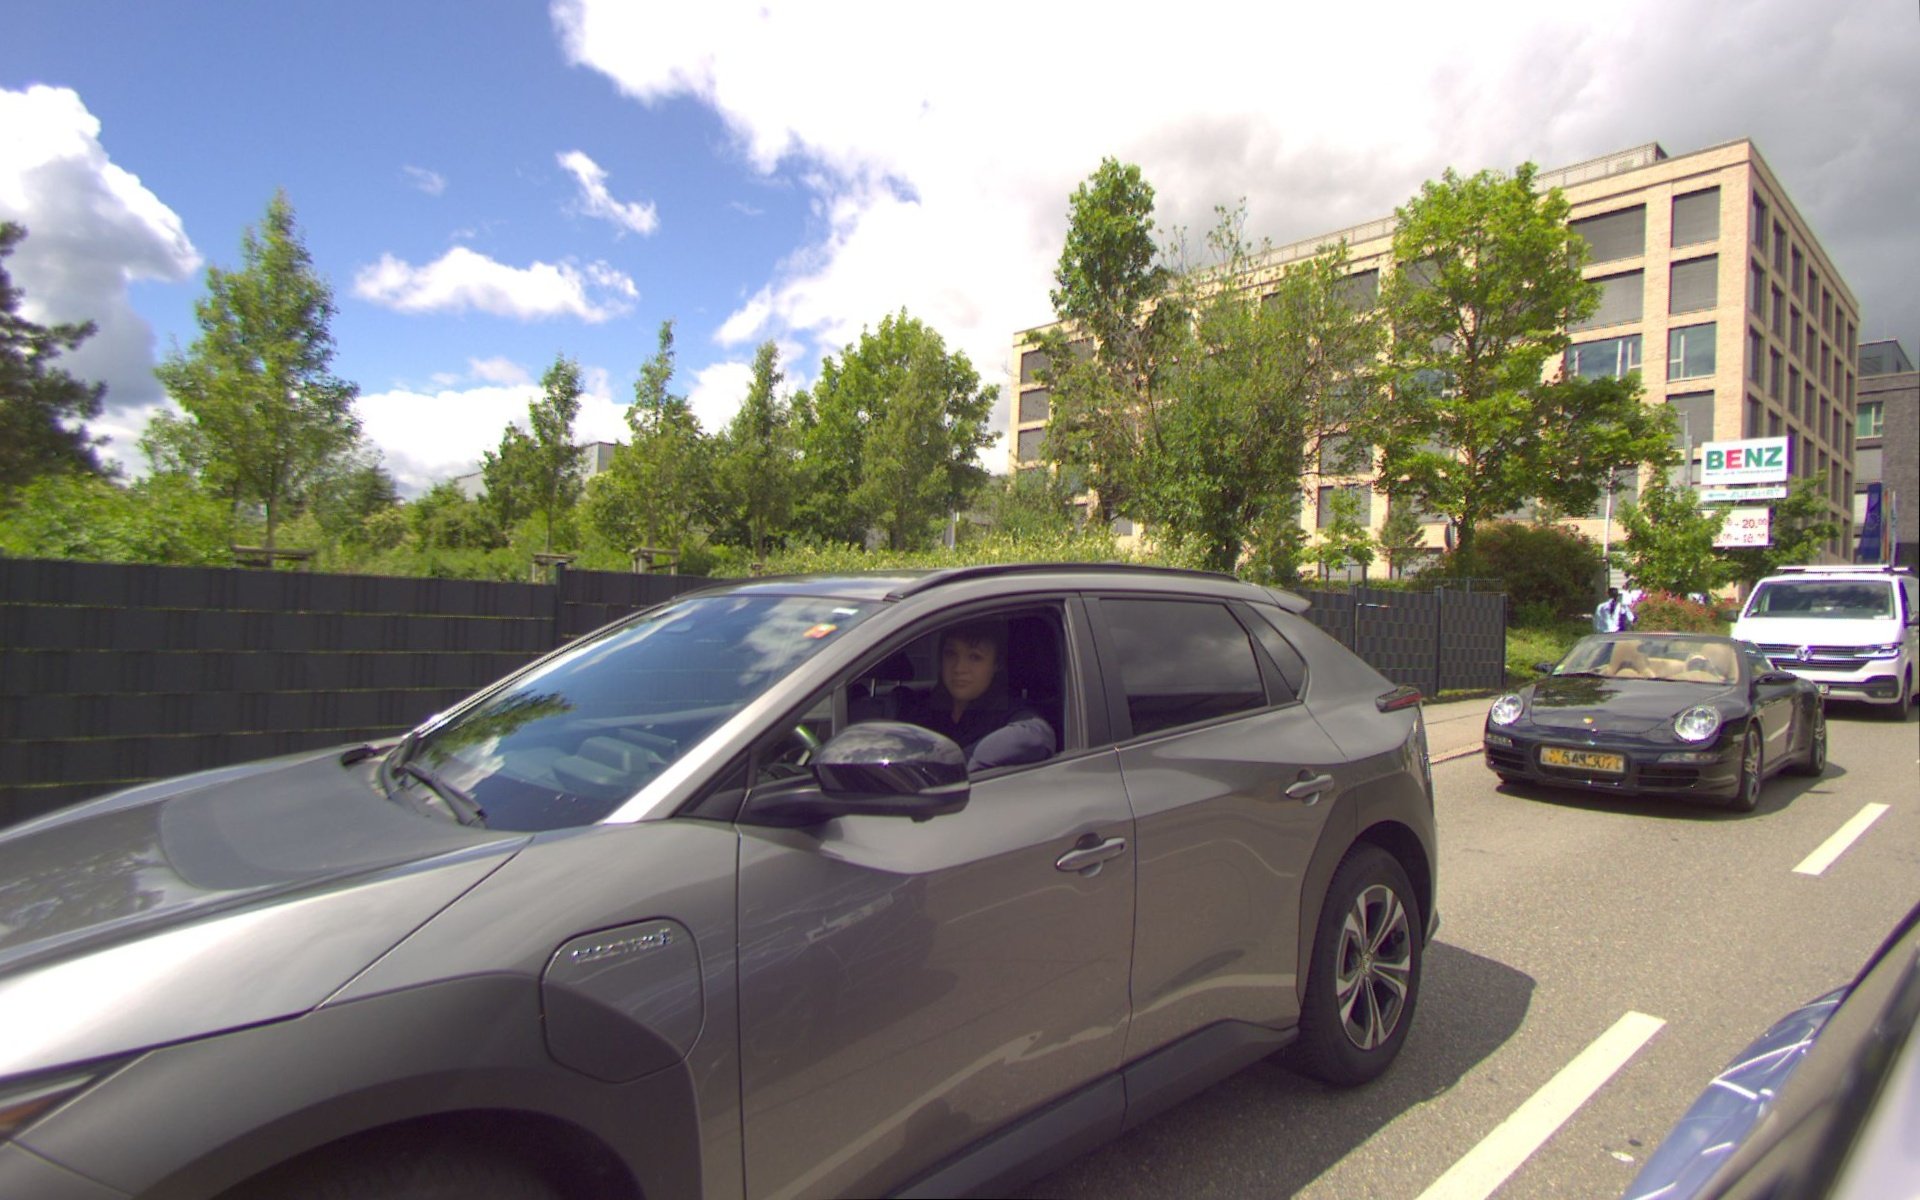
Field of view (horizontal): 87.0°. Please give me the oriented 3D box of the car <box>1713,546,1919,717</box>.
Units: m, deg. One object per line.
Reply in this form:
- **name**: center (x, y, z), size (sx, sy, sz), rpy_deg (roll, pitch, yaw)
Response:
- **car**: center (12.736, 0.373, 14.571), size (4.677, 2.075, 2.087), rpy_deg (0, 0, -41)

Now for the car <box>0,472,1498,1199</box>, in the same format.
- **car**: center (-0.378, 0.669, 2.950), size (4.501, 1.649, 1.997), rpy_deg (0, 1, -42)

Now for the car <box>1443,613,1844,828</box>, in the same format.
- **car**: center (5.845, 0.793, 8.476), size (3.967, 1.310, 1.823), rpy_deg (0, 0, -41)

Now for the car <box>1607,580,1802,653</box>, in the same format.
- **car**: center (19.982, 0.389, 27.279), size (1.793, 1.754, 3.991), rpy_deg (0, 2, -44)

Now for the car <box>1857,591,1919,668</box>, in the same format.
- **car**: center (20.239, 0.586, 21.075), size (3.930, 1.481, 1.817), rpy_deg (0, 2, -41)

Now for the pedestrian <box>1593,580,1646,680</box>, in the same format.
- **pedestrian**: center (11.290, 0.496, 17.330), size (0.435, 1.678, 0.631), rpy_deg (0, 1, -42)
